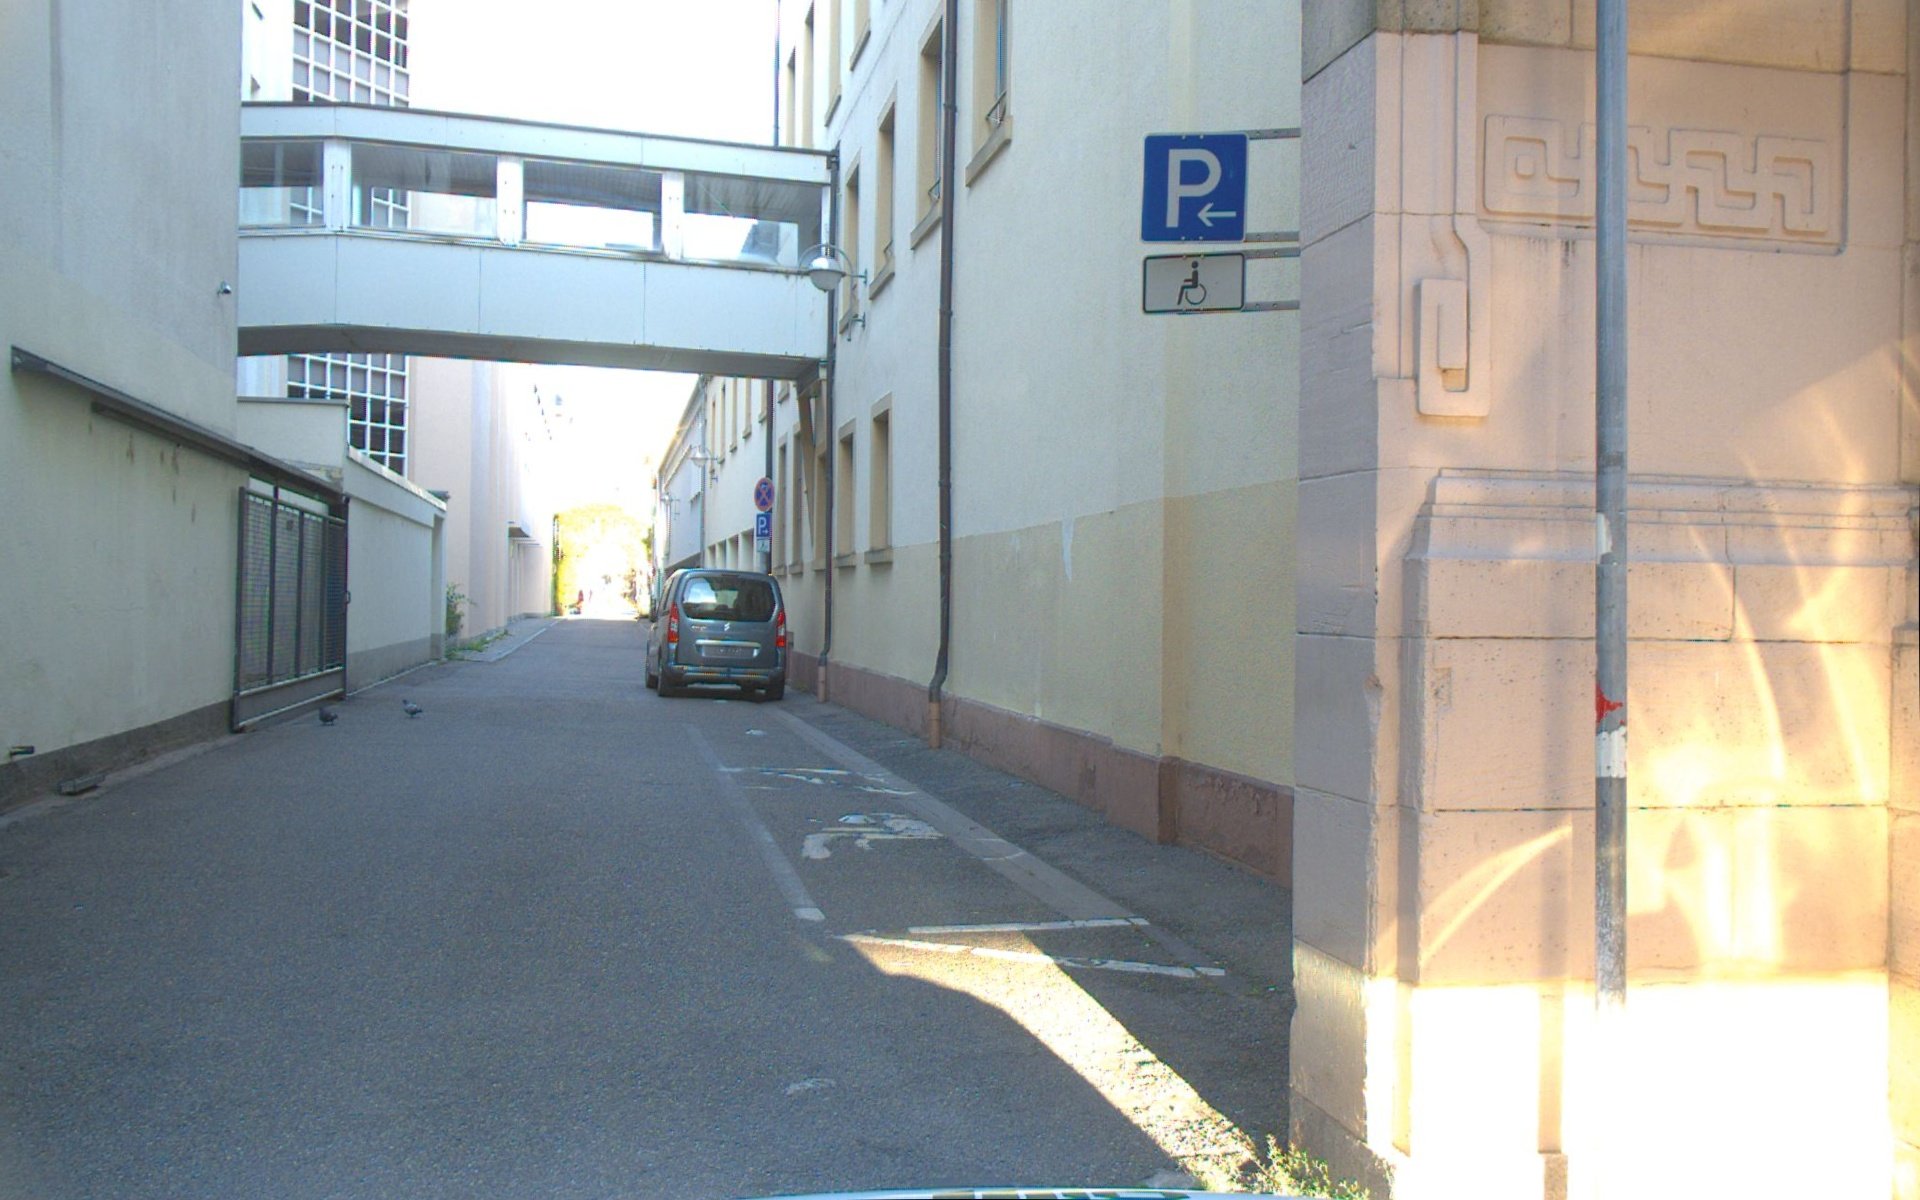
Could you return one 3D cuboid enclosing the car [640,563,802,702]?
[{"bbox_3d":[-3.640,0.446,24.607,1.824,1.786,4.146,4,-1,-15],"label":"car"}]
